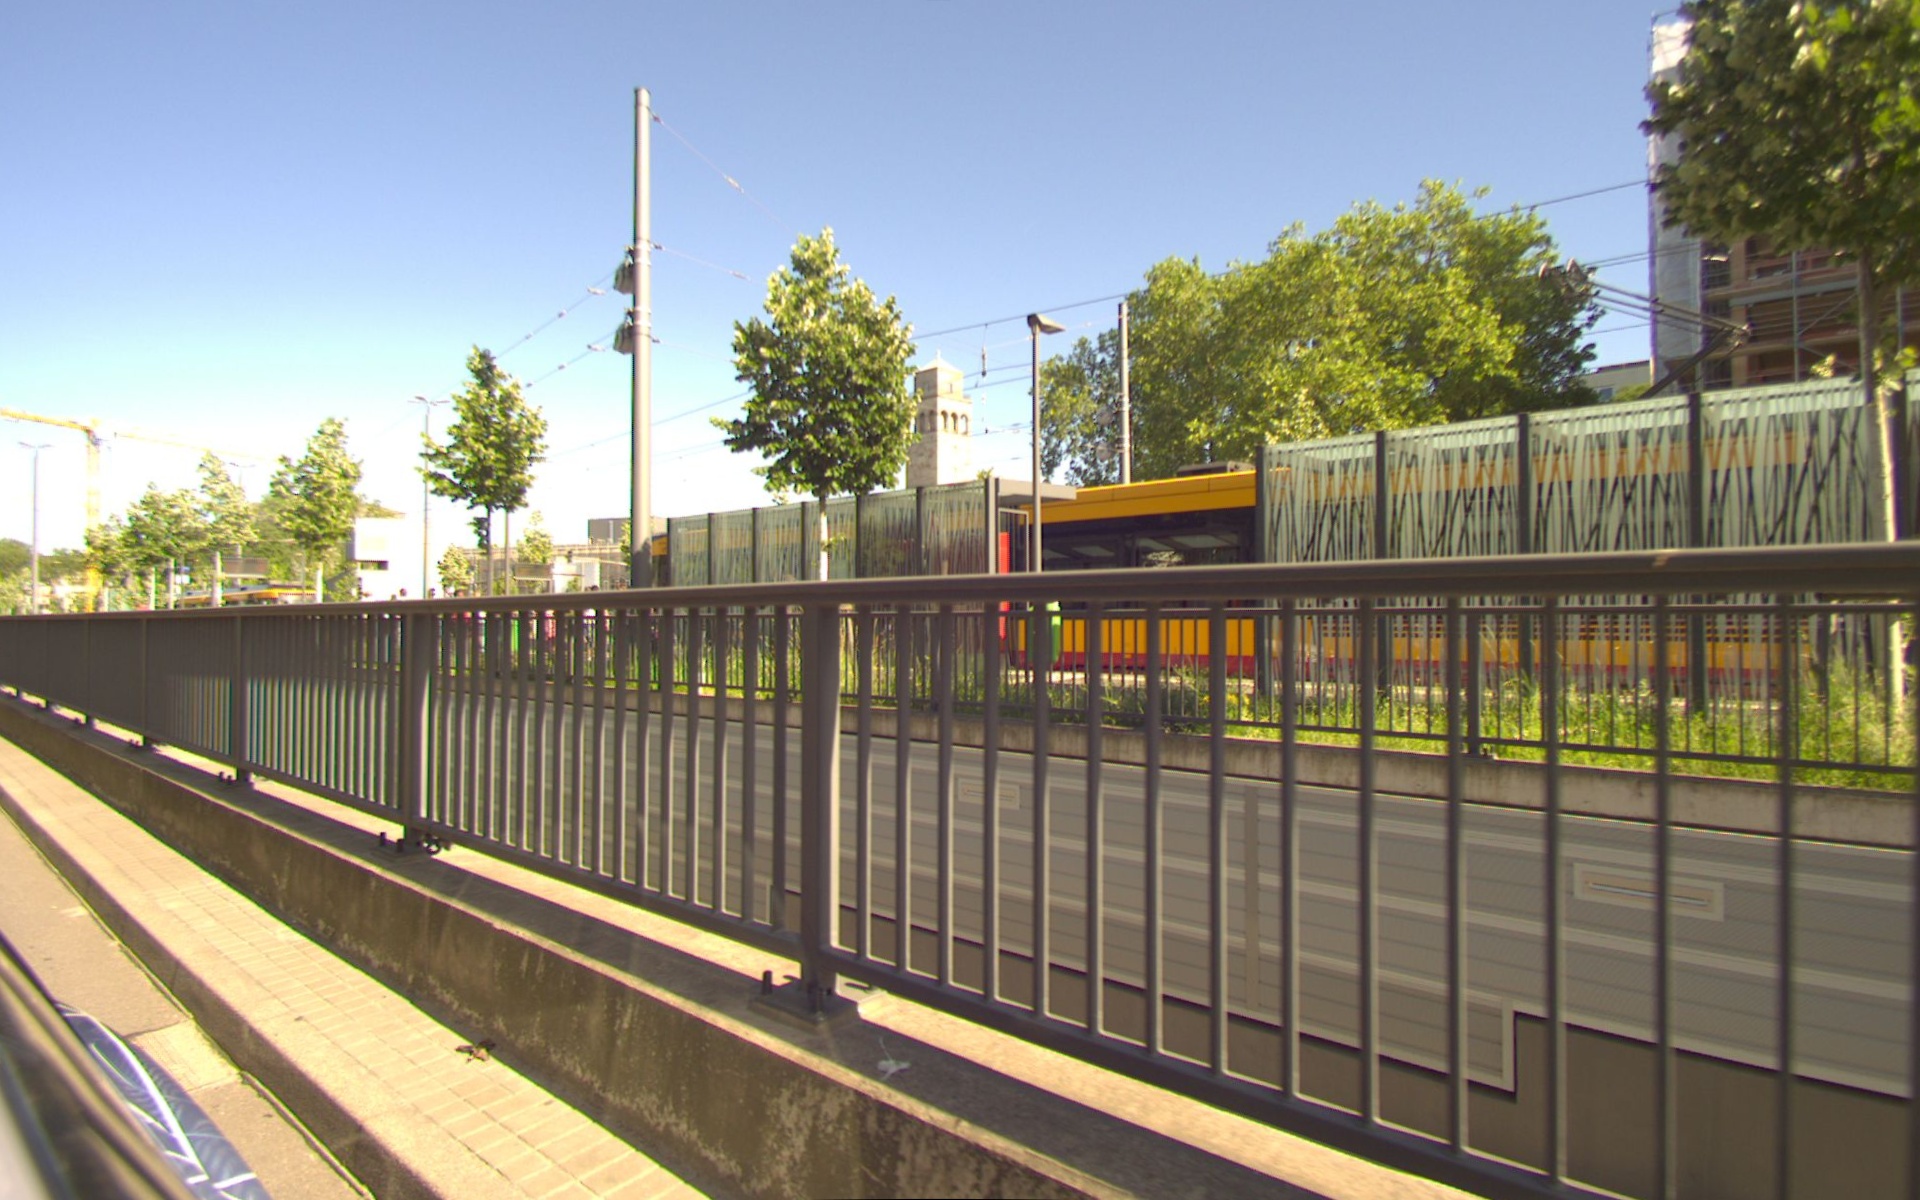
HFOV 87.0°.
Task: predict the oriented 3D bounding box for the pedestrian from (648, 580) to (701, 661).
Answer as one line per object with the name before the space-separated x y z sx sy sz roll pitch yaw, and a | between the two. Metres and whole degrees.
pedestrian | -5.905 0.422 20.929 0.861 1.641 0.733 -2 -2 42

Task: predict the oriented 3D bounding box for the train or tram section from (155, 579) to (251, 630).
train or tram section | -53.794 0.402 71.736 13.067 3.334 2.840 -2 0 42

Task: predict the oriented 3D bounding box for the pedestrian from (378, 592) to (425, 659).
pedestrian | -15.840 0.728 28.703 1.007 1.865 0.877 -2 -2 41

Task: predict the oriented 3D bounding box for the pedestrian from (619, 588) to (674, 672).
pedestrian | -6.296 0.599 20.343 0.861 1.641 0.733 -2 -2 42

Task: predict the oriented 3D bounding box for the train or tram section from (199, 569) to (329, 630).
train or tram section | -42.974 0.077 62.062 15.960 3.346 2.818 -1 0 42

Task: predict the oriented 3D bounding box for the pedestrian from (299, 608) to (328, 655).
pedestrian | -21.413 1.056 33.512 0.588 1.524 0.641 -3 -1 39

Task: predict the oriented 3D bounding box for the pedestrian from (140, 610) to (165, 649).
pedestrian | -37.999 1.405 47.616 0.958 1.788 0.696 -3 -1 39

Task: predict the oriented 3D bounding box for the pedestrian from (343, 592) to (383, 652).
pedestrian | -18.599 0.692 31.534 1.030 1.824 0.761 -1 -2 41

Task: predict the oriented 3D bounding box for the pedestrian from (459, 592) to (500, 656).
pedestrian | -12.968 0.647 27.294 0.861 1.707 0.733 -2 -2 42

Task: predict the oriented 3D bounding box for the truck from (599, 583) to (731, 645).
truck | -15.436 0.731 52.597 7.950 2.992 2.690 -1 1 42

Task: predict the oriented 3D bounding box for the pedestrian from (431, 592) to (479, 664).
pedestrian | -11.706 0.645 23.467 0.861 1.641 0.733 -2 -2 42

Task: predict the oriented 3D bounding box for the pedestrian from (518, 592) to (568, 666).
pedestrian | -9.556 0.658 23.195 0.947 1.641 0.733 -2 -2 43

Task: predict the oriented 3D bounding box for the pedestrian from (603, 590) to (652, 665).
pedestrian | -7.477 0.617 22.750 0.861 1.641 0.733 -2 -2 42

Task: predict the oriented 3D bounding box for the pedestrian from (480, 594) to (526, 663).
pedestrian | -11.176 0.689 24.748 0.861 1.641 0.733 -2 -2 42

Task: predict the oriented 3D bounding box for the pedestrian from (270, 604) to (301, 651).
pedestrian | -26.745 1.090 40.142 0.825 1.788 0.754 -3 -1 38

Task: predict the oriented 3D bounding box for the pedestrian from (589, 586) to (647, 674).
pedestrian | -6.625 0.575 19.595 0.861 1.641 0.733 -2 -2 42

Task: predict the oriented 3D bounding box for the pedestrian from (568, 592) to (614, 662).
pedestrian | -8.825 0.637 24.186 0.861 1.641 0.733 -2 -2 42

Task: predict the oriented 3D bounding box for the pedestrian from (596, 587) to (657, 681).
pedestrian | -6.042 0.609 18.329 0.861 1.641 0.733 -2 -2 42

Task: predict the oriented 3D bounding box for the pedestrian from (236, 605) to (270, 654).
pedestrian | -26.515 1.123 37.942 0.977 1.788 0.783 -3 -1 39

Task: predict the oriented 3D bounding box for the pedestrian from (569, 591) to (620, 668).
pedestrian | -7.980 0.631 22.070 0.861 1.641 0.733 -2 -2 42

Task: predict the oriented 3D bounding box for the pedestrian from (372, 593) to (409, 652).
pedestrian | -18.054 0.709 32.081 1.074 1.824 0.664 -1 -2 41

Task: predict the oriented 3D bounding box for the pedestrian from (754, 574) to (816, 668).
pedestrian | -3.175 0.375 18.323 0.861 1.641 0.733 -2 -2 42

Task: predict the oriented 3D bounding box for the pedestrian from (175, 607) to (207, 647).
pedestrian | -35.205 1.225 46.329 1.188 1.788 0.865 -3 -1 39

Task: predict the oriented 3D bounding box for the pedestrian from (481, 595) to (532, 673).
pedestrian | -9.842 0.725 21.948 0.861 1.641 0.733 -2 -2 42

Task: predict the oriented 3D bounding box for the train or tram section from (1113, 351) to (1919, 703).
train or tram section | 11.562 -0.758 9.119 22.134 3.304 2.840 -2 0 42

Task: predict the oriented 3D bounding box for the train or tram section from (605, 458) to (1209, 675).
train or tram section | -2.319 -0.381 21.532 15.179 3.304 2.840 -2 0 42
